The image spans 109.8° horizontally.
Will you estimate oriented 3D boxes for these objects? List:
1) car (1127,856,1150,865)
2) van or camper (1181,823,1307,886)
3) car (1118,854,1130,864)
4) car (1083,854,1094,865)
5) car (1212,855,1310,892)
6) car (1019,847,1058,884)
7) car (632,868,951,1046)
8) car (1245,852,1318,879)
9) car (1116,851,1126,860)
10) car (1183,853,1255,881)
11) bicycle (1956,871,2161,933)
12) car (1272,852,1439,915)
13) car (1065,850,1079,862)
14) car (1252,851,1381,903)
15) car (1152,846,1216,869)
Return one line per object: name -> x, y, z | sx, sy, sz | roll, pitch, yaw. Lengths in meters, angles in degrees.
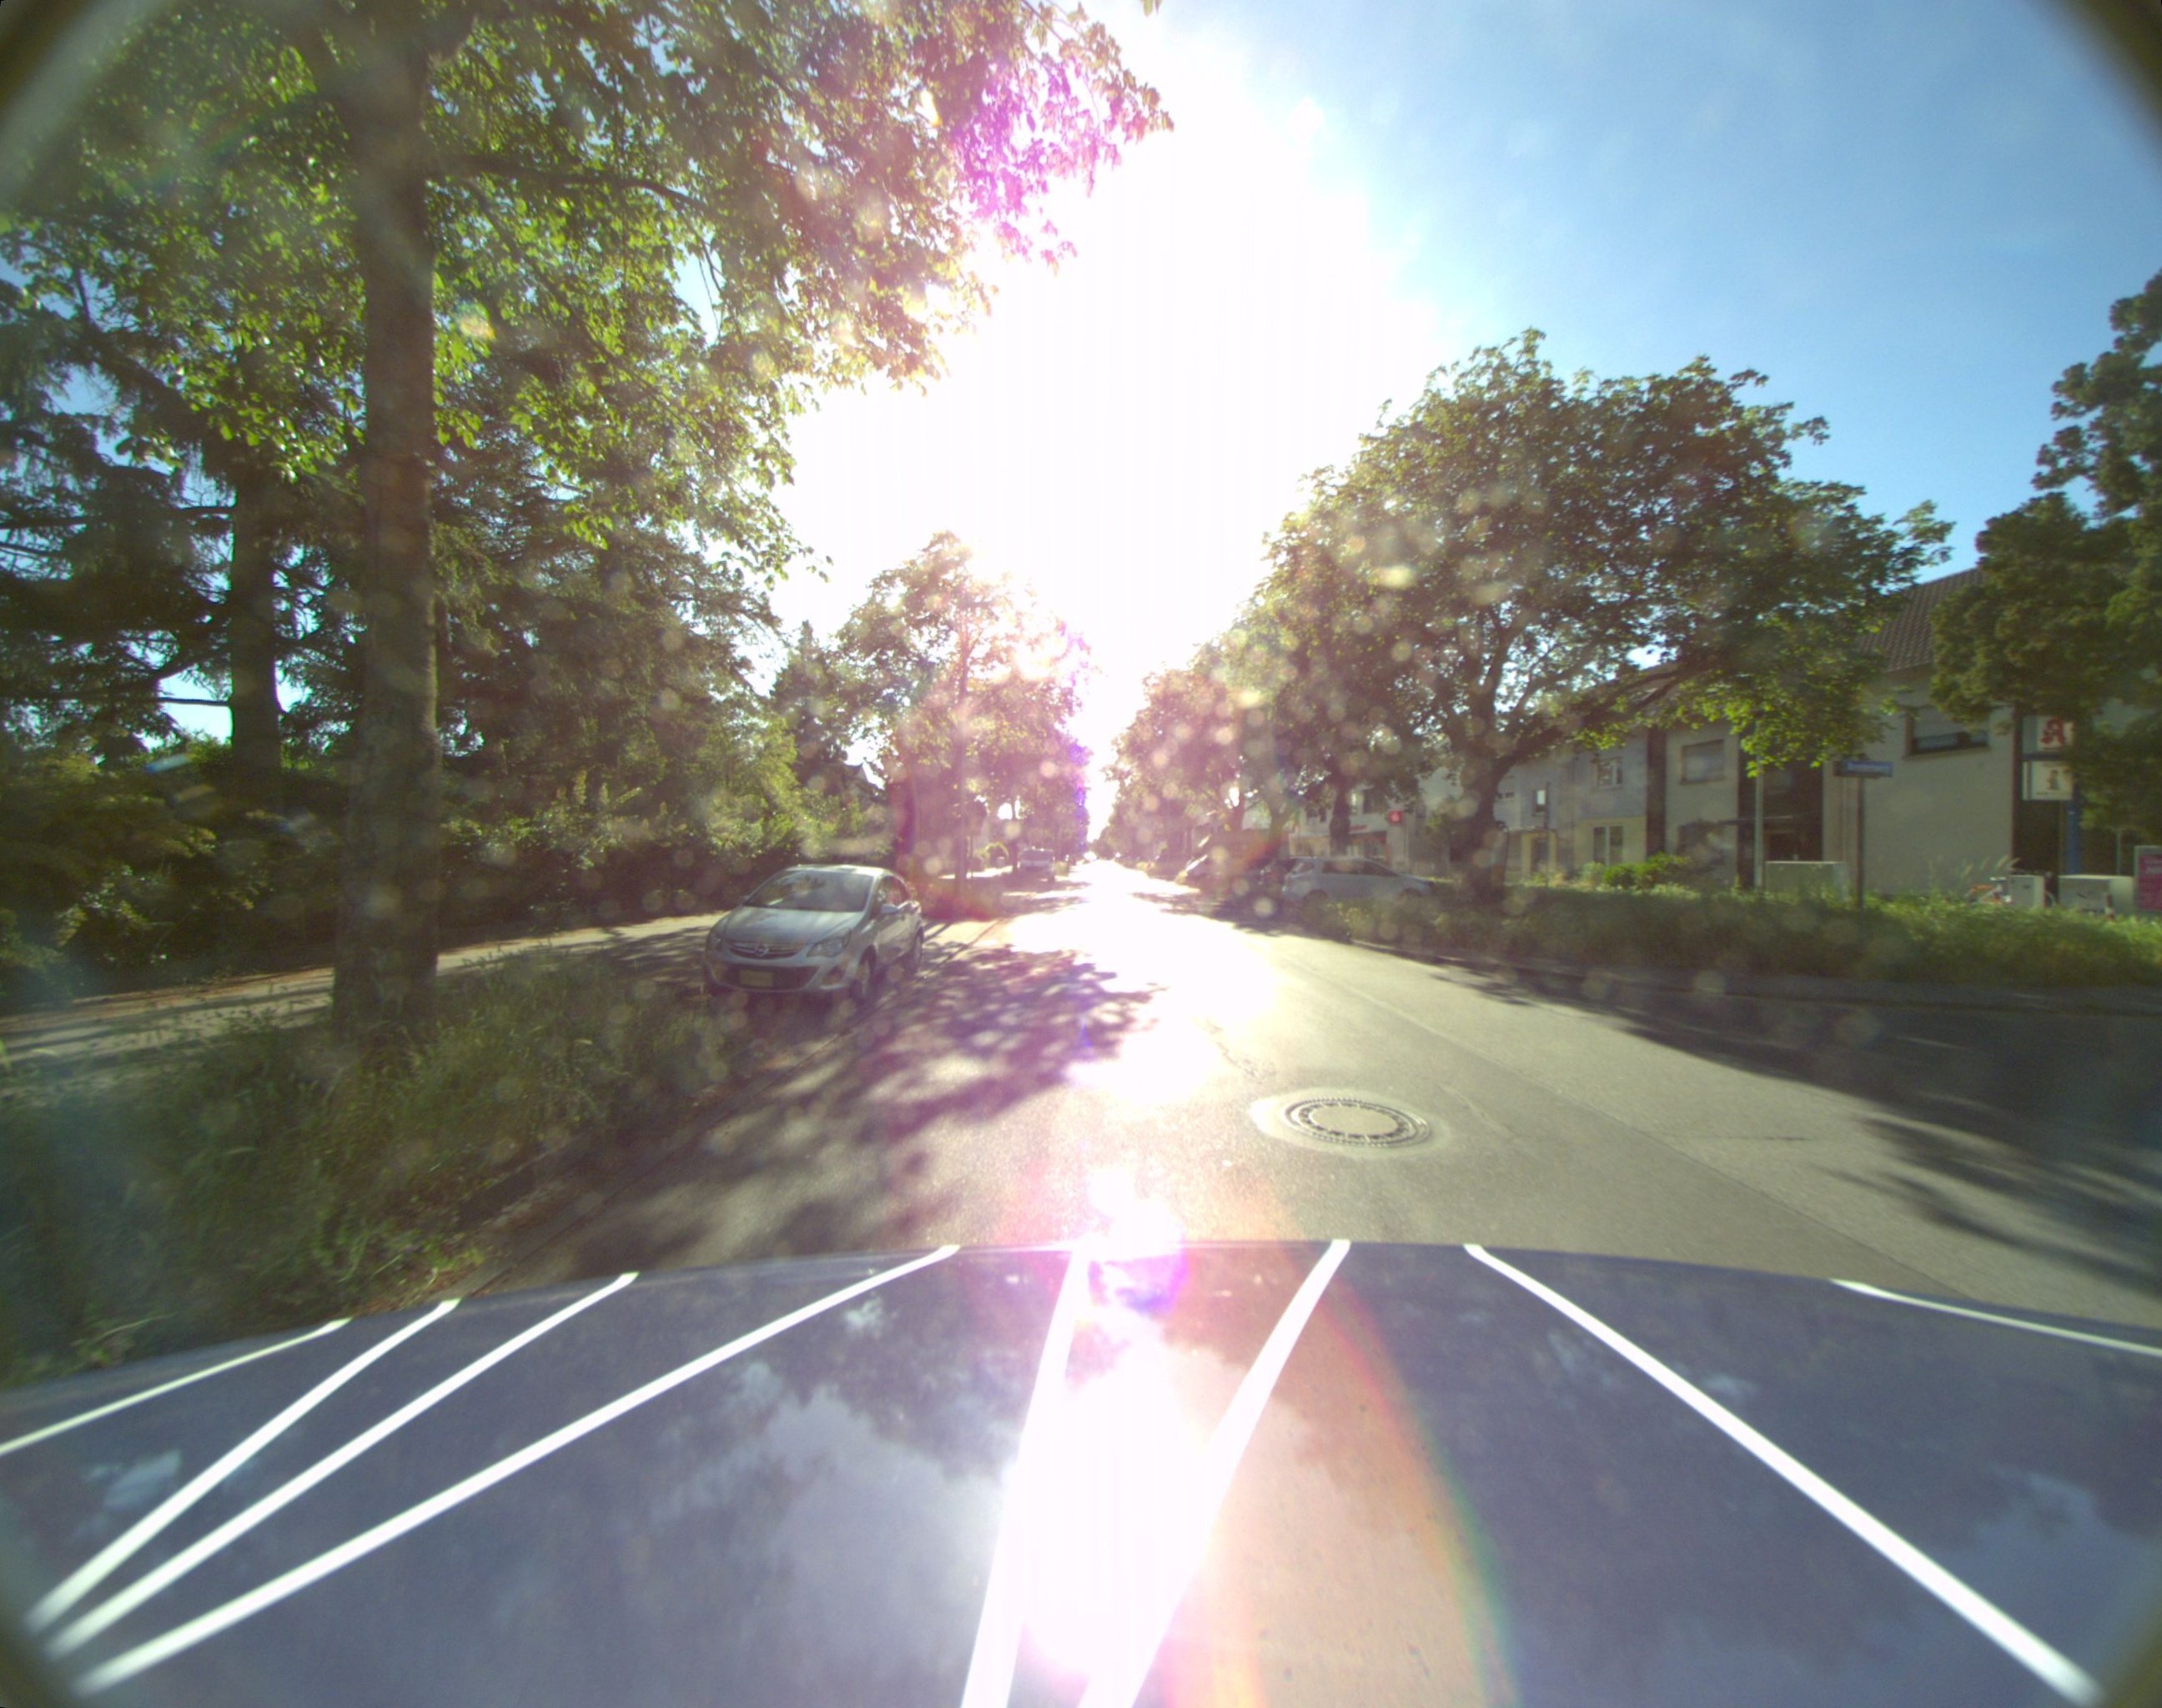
car -> 9.840, 1.106, 130.995 | 3.695, 1.315, 1.624 | -2, 1, -5
van or camper -> 8.093, 0.022, 38.170 | 5.789, 2.789, 2.000 | -3, 1, 3
car -> 7.723, 0.850, 135.835 | 1.998, 1.530, 3.695 | -3, 1, 3
car -> 1.228, 0.940, 125.817 | 1.539, 1.582, 3.458 | -3, 1, 3
car -> 8.297, 0.887, 35.310 | 3.997, 1.450, 1.999 | -3, 1, -1
car -> -2.549, 0.618, 46.567 | 1.999, 2.002, 5.195 | -3, 1, 0
car -> -3.192, 1.030, 9.390 | 1.997, 1.502, 4.001 | 1, 1, 8
car -> 12.493, 0.719, 47.419 | 3.998, 1.533, 1.869 | -1, 1, -5
car -> 7.769, 0.245, 147.136 | 1.815, 1.722, 4.056 | 0, 0, 3
car -> 8.137, 0.763, 45.004 | 3.996, 1.441, 1.639 | -2, 1, 4
bicycle -> 21.486, 0.980, 16.030 | 0.706, 1.169, 4.051 | 0, 0, -16
car -> 7.656, 0.792, 21.455 | 3.997, 1.651, 1.966 | -1, 0, 0
car -> -1.367, 0.301, 119.985 | 1.941, 1.684, 4.363 | 0, 0, 3
car -> 8.436, 0.783, 27.467 | 3.997, 1.580, 1.999 | -3, 1, 0
car -> 8.886, 0.280, 65.736 | 5.075, 1.718, 1.999 | -3, 1, -3
